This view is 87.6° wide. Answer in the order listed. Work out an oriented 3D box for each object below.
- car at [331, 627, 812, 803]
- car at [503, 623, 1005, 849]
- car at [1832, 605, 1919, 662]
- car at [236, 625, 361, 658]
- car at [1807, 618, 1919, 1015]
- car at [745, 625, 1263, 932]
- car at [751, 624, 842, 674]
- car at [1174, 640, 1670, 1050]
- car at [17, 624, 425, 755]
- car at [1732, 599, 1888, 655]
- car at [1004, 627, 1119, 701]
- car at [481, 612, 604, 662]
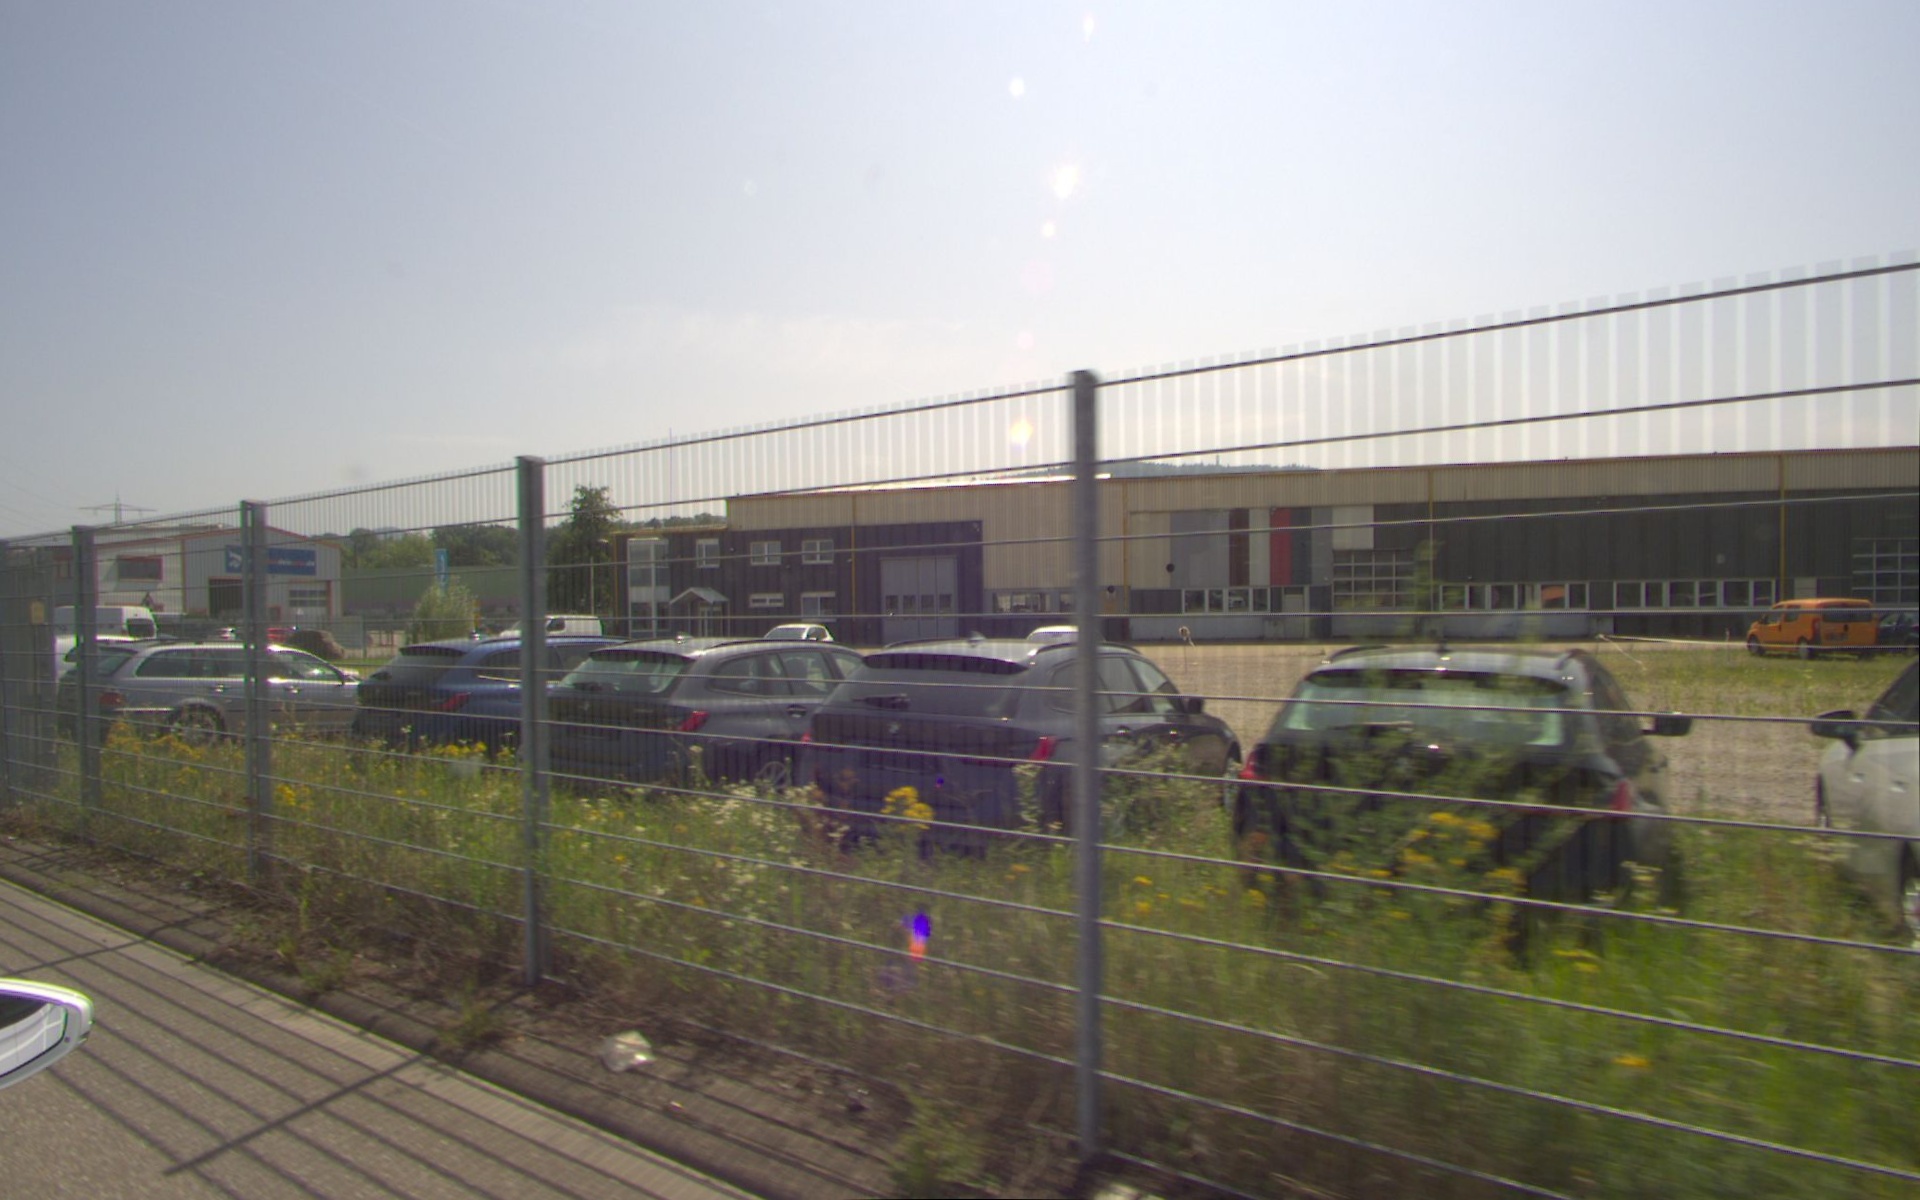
[{"bbox_3d":[-3.735,1.069,10.482,1.743,1.423,4.501,-1,-4,34],"label":"car"},{"bbox_3d":[-1.412,0.996,8.697,1.614,1.423,4.504,-1,-4,32],"label":"car"},{"bbox_3d":[27.622,0.931,29.008,1.720,1.505,4.384,0,0,14],"label":"car"},{"bbox_3d":[-27.372,1.696,41.538,3.854,1.294,1.906,0,-1,-8],"label":"car"},{"bbox_3d":[5.171,0.851,4.445,1.815,1.423,4.200,-1,-4,36],"label":"car"},{"bbox_3d":[0.704,0.938,7.075,1.811,1.423,4.506,-1,-3,30],"label":"car"},{"bbox_3d":[-5.123,1.501,31.733,1.507,1.454,3.664,-1,-1,14],"label":"car"},{"bbox_3d":[2.938,0.985,5.751,1.815,1.423,4.200,-1,-4,36],"label":"car"},{"bbox_3d":[-9.768,1.147,13.640,1.613,1.492,4.163,-1,-3,29],"label":"car"},{"bbox_3d":[24.895,0.733,29.549,1.720,1.505,4.384,0,0,14],"label":"car"},{"bbox_3d":[2.335,1.324,22.020,1.597,1.368,4.516,-1,-1,18],"label":"car"},{"bbox_3d":[-17.059,1.456,41.232,1.824,1.924,5.068,-1,-1,18],"label":"car"}]
